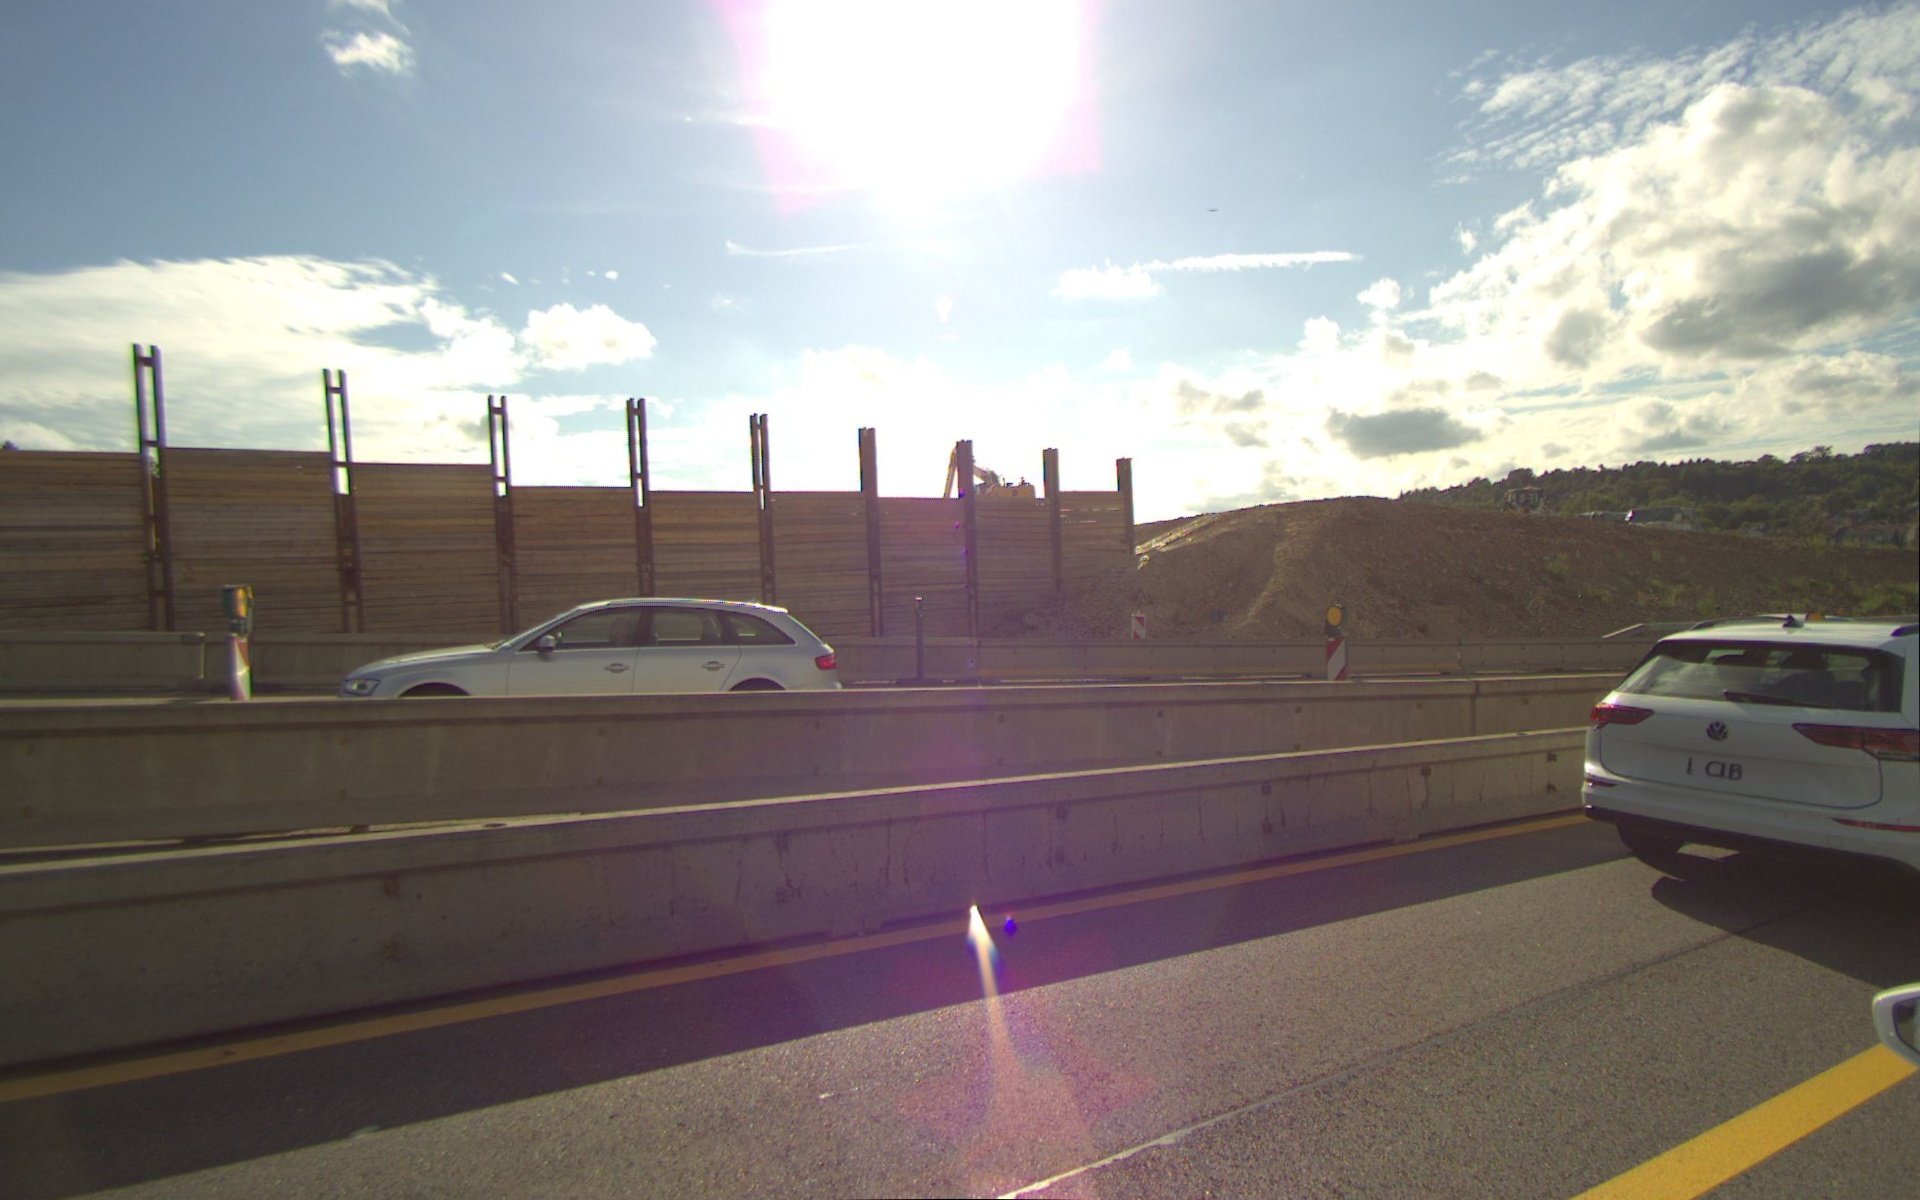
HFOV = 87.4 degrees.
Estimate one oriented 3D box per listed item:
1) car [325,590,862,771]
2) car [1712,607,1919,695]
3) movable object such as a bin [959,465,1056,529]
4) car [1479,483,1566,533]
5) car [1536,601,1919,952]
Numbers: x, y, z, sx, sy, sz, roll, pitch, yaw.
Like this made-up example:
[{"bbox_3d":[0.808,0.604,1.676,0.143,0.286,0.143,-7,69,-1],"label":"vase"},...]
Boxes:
[{"bbox_3d":[-3.389,0.680,9.835,4.493,1.459,1.848,1,0,-23],"label":"car"},{"bbox_3d":[16.005,0.907,18.653,3.754,1.459,1.748,1,0,-26],"label":"car"},{"bbox_3d":[2.998,-6.539,65.023,4.440,3.314,5.742,2,0,-18],"label":"movable object such as a bin"},{"bbox_3d":[32.781,-5.304,58.501,5.261,2.167,1.984,3,-5,-31],"label":"car"},{"bbox_3d":[5.688,0.795,6.163,4.463,1.511,1.761,1,0,-30],"label":"car"}]
